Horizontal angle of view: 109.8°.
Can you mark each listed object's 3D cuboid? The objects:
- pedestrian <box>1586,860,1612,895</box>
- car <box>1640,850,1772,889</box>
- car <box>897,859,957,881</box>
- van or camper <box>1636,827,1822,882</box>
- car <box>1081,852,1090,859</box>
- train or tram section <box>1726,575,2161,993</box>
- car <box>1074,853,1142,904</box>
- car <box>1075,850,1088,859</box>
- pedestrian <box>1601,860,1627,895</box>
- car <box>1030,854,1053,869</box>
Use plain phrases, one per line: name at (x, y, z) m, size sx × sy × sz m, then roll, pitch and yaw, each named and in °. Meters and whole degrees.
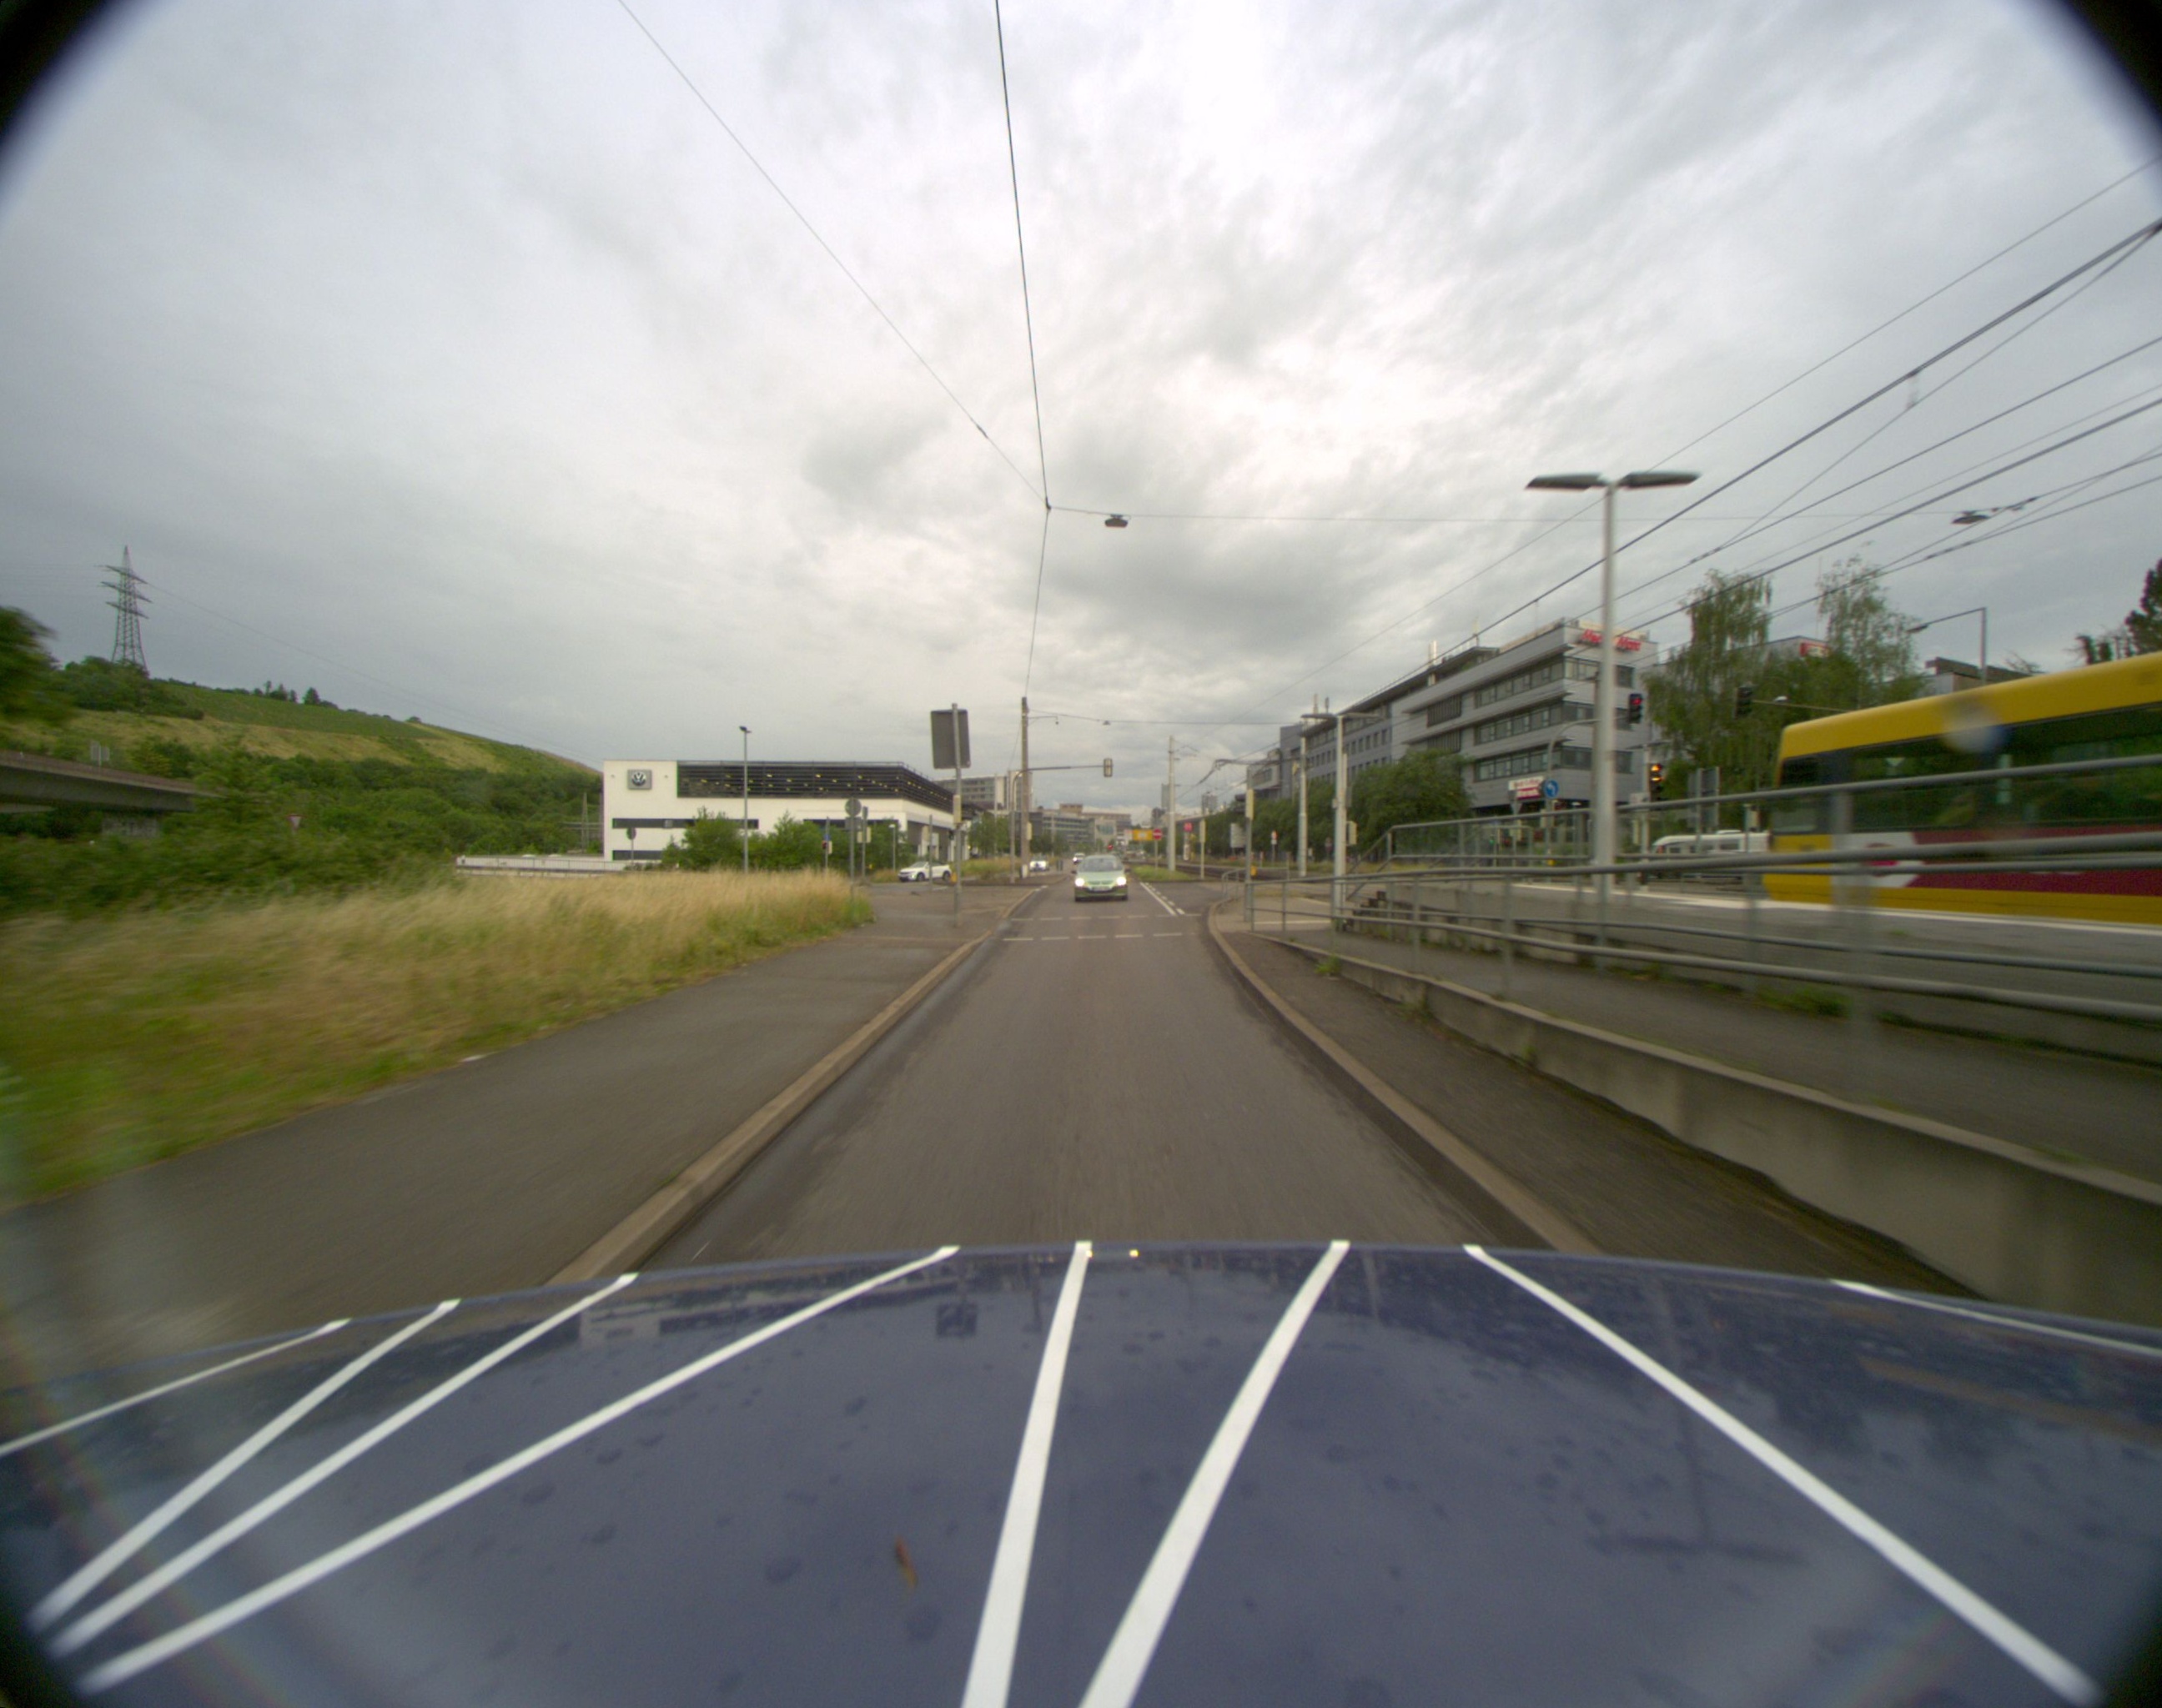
pedestrian at (26.451, 1.201, 38.812) m, size 0.748 × 1.775 × 0.813 m, roll 0°, pitch 0°, yaw 2°
car at (32.723, 0.837, 40.024) m, size 5.157 × 1.869 × 2.004 m, roll -2°, pitch 1°, yaw 34°
car at (-11.250, 1.135, 55.821) m, size 2.035 × 1.531 × 4.118 m, roll 0°, pitch 1°, yaw 33°
van or camper at (36.293, 0.070, 42.991) m, size 7.742 × 2.867 × 2.305 m, roll -2°, pitch 1°, yaw 34°
car at (0.859, 0.271, 147.006) m, size 1.701 × 1.429 × 3.965 m, roll 0°, pitch 0°, yaw 0°
train or tram section at (11.470, -0.657, 2.540) m, size 2.875 × 3.950 × 19.331 m, roll -2°, pitch 1°, yaw 2°
car at (0.995, 0.774, 25.843) m, size 1.779 × 1.493 × 4.002 m, roll 1°, pitch 1°, yaw 9°
car at (0.134, 0.068, 123.476) m, size 1.993 × 1.531 × 4.109 m, roll 0°, pitch 0°, yaw 0°
pedestrian at (27.215, 1.184, 38.809) m, size 0.748 × 1.775 × 0.813 m, roll 0°, pitch 0°, yaw 2°
car at (-3.955, 0.737, 77.330) m, size 1.993 × 1.531 × 4.110 m, roll 0°, pitch 0°, yaw 2°
